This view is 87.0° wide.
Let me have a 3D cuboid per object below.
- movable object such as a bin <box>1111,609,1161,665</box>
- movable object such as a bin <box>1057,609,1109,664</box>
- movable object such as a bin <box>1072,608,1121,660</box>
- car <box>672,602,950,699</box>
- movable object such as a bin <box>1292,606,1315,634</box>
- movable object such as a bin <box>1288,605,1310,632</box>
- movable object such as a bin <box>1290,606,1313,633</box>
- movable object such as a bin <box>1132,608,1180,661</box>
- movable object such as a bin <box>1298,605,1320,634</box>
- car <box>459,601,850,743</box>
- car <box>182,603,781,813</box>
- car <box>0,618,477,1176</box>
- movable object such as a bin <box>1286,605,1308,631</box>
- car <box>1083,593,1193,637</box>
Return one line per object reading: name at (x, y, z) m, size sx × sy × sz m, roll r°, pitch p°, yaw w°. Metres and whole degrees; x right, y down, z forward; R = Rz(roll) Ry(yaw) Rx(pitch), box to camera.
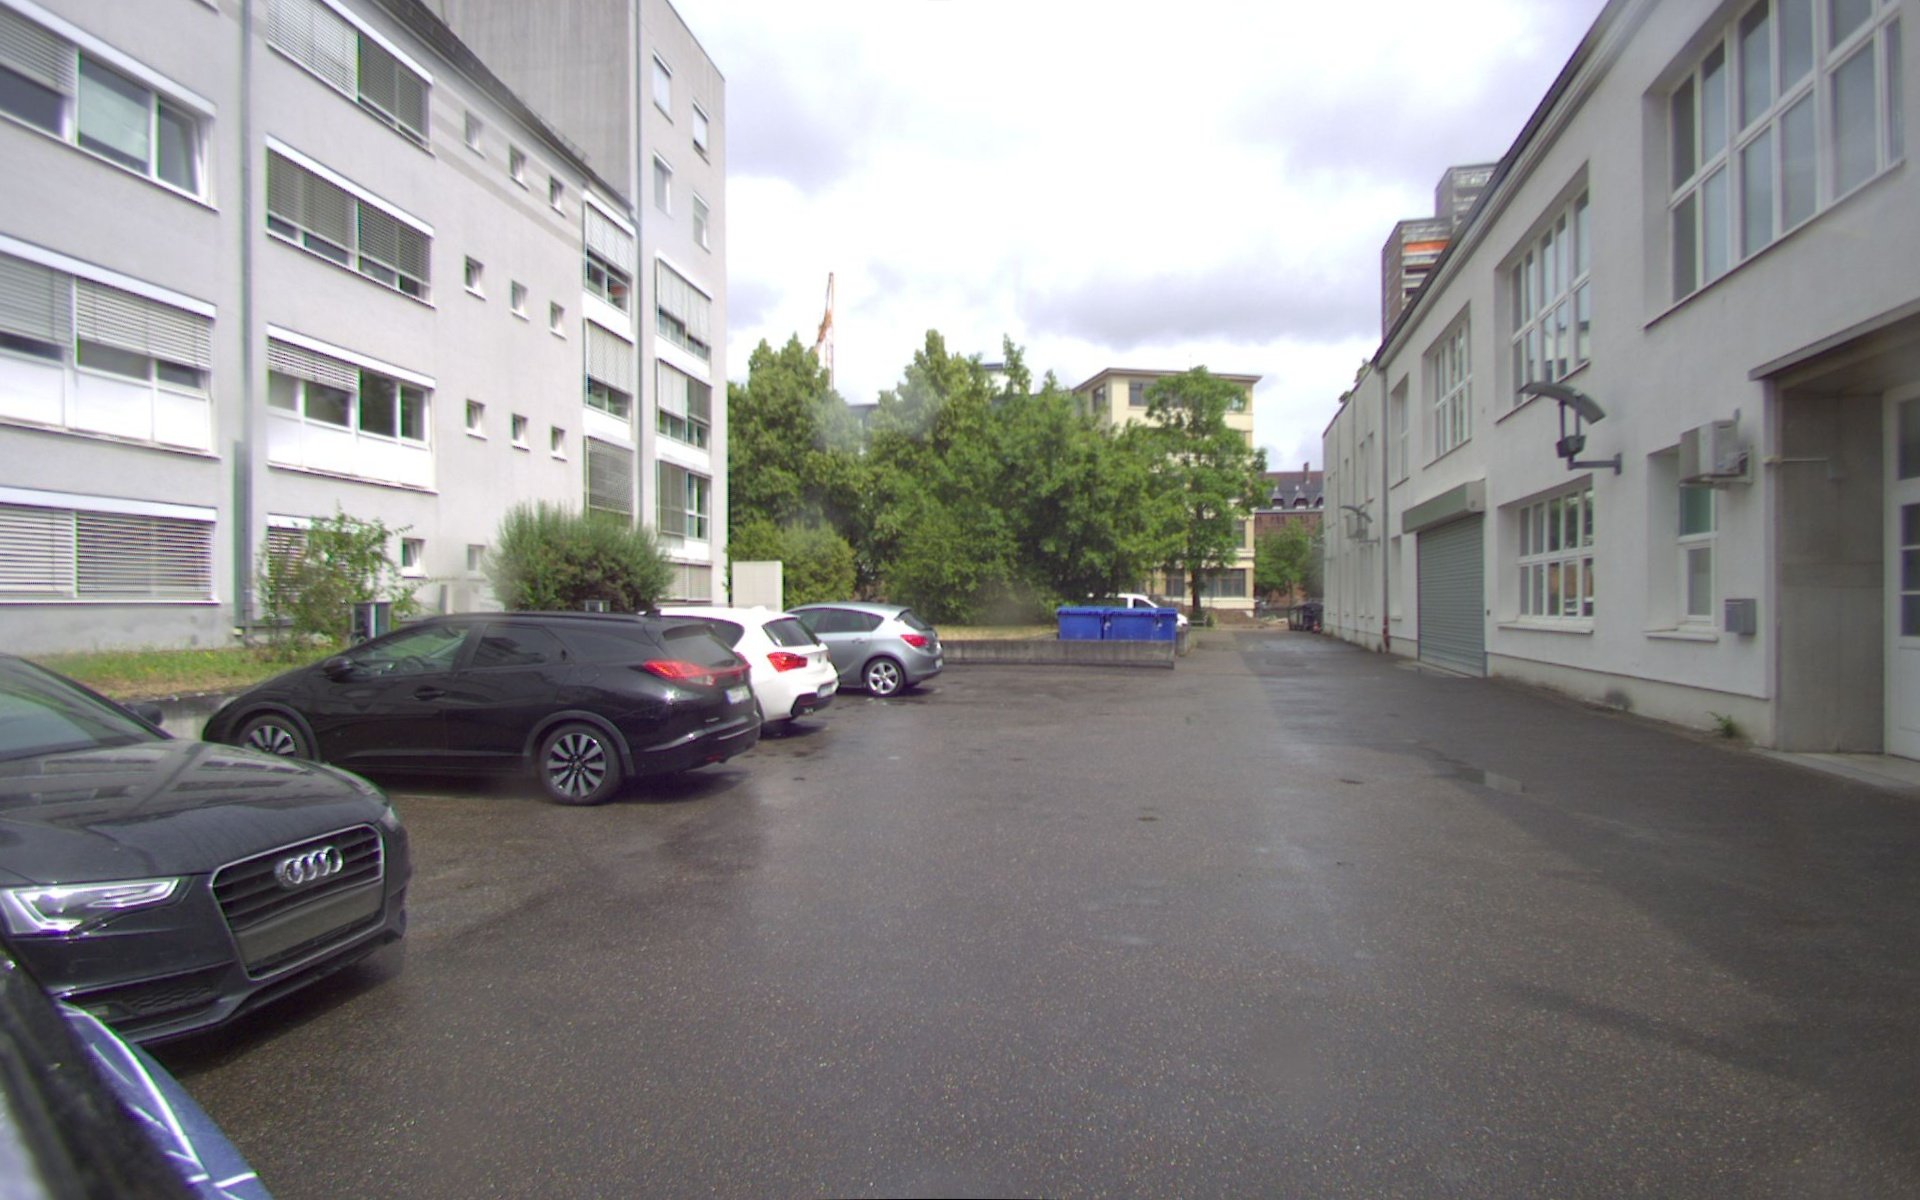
movable object such as a bin at (4.405, 0.920, 25.258) m, size 1.086 × 1.335 × 1.201 m, roll -1°, pitch 0°, yaw 17°
movable object such as a bin at (3.126, 0.912, 25.614) m, size 1.122 × 1.338 × 1.201 m, roll -1°, pitch 0°, yaw 17°
movable object such as a bin at (3.668, 0.893, 27.192) m, size 1.122 × 1.338 × 1.201 m, roll -1°, pitch 0°, yaw 17°
car at (-2.402, 0.783, 16.843) m, size 4.265 × 1.453 × 1.759 m, roll 0°, pitch 0°, yaw 8°
movable object such as a bin at (17.178, 0.991, 50.659) m, size 1.037 × 1.366 × 1.201 m, roll -1°, pitch 0°, yaw 17°
movable object such as a bin at (17.917, 0.971, 53.499) m, size 1.057 × 1.366 × 1.257 m, roll -1°, pitch 0°, yaw 17°
movable object such as a bin at (17.536, 0.982, 51.973) m, size 1.054 × 1.366 × 1.211 m, roll -1°, pitch 0°, yaw 17°
movable object such as a bin at (5.226, 0.911, 26.868) m, size 1.122 × 1.338 × 1.201 m, roll -1°, pitch 0°, yaw 17°
movable object such as a bin at (16.864, 0.918, 48.943) m, size 0.970 × 1.366 × 0.914 m, roll -1°, pitch 0°, yaw 17°
car at (-3.481, 0.765, 11.847) m, size 4.079 × 1.453 × 1.691 m, roll 0°, pitch 0°, yaw 10°
car at (-3.821, 0.778, 8.432) m, size 4.265 × 1.453 × 1.759 m, roll 0°, pitch 0°, yaw 8°
car at (-4.406, 0.770, 3.816) m, size 4.477 × 1.362 × 1.758 m, roll 0°, pitch 0°, yaw 9°
movable object such as a bin at (18.243, 0.962, 54.828) m, size 1.057 × 1.366 × 1.257 m, roll -1°, pitch 0°, yaw 17°
car at (7.406, 0.609, 42.065) m, size 4.301 × 1.740 × 1.712 m, roll -1°, pitch 0°, yaw 19°
